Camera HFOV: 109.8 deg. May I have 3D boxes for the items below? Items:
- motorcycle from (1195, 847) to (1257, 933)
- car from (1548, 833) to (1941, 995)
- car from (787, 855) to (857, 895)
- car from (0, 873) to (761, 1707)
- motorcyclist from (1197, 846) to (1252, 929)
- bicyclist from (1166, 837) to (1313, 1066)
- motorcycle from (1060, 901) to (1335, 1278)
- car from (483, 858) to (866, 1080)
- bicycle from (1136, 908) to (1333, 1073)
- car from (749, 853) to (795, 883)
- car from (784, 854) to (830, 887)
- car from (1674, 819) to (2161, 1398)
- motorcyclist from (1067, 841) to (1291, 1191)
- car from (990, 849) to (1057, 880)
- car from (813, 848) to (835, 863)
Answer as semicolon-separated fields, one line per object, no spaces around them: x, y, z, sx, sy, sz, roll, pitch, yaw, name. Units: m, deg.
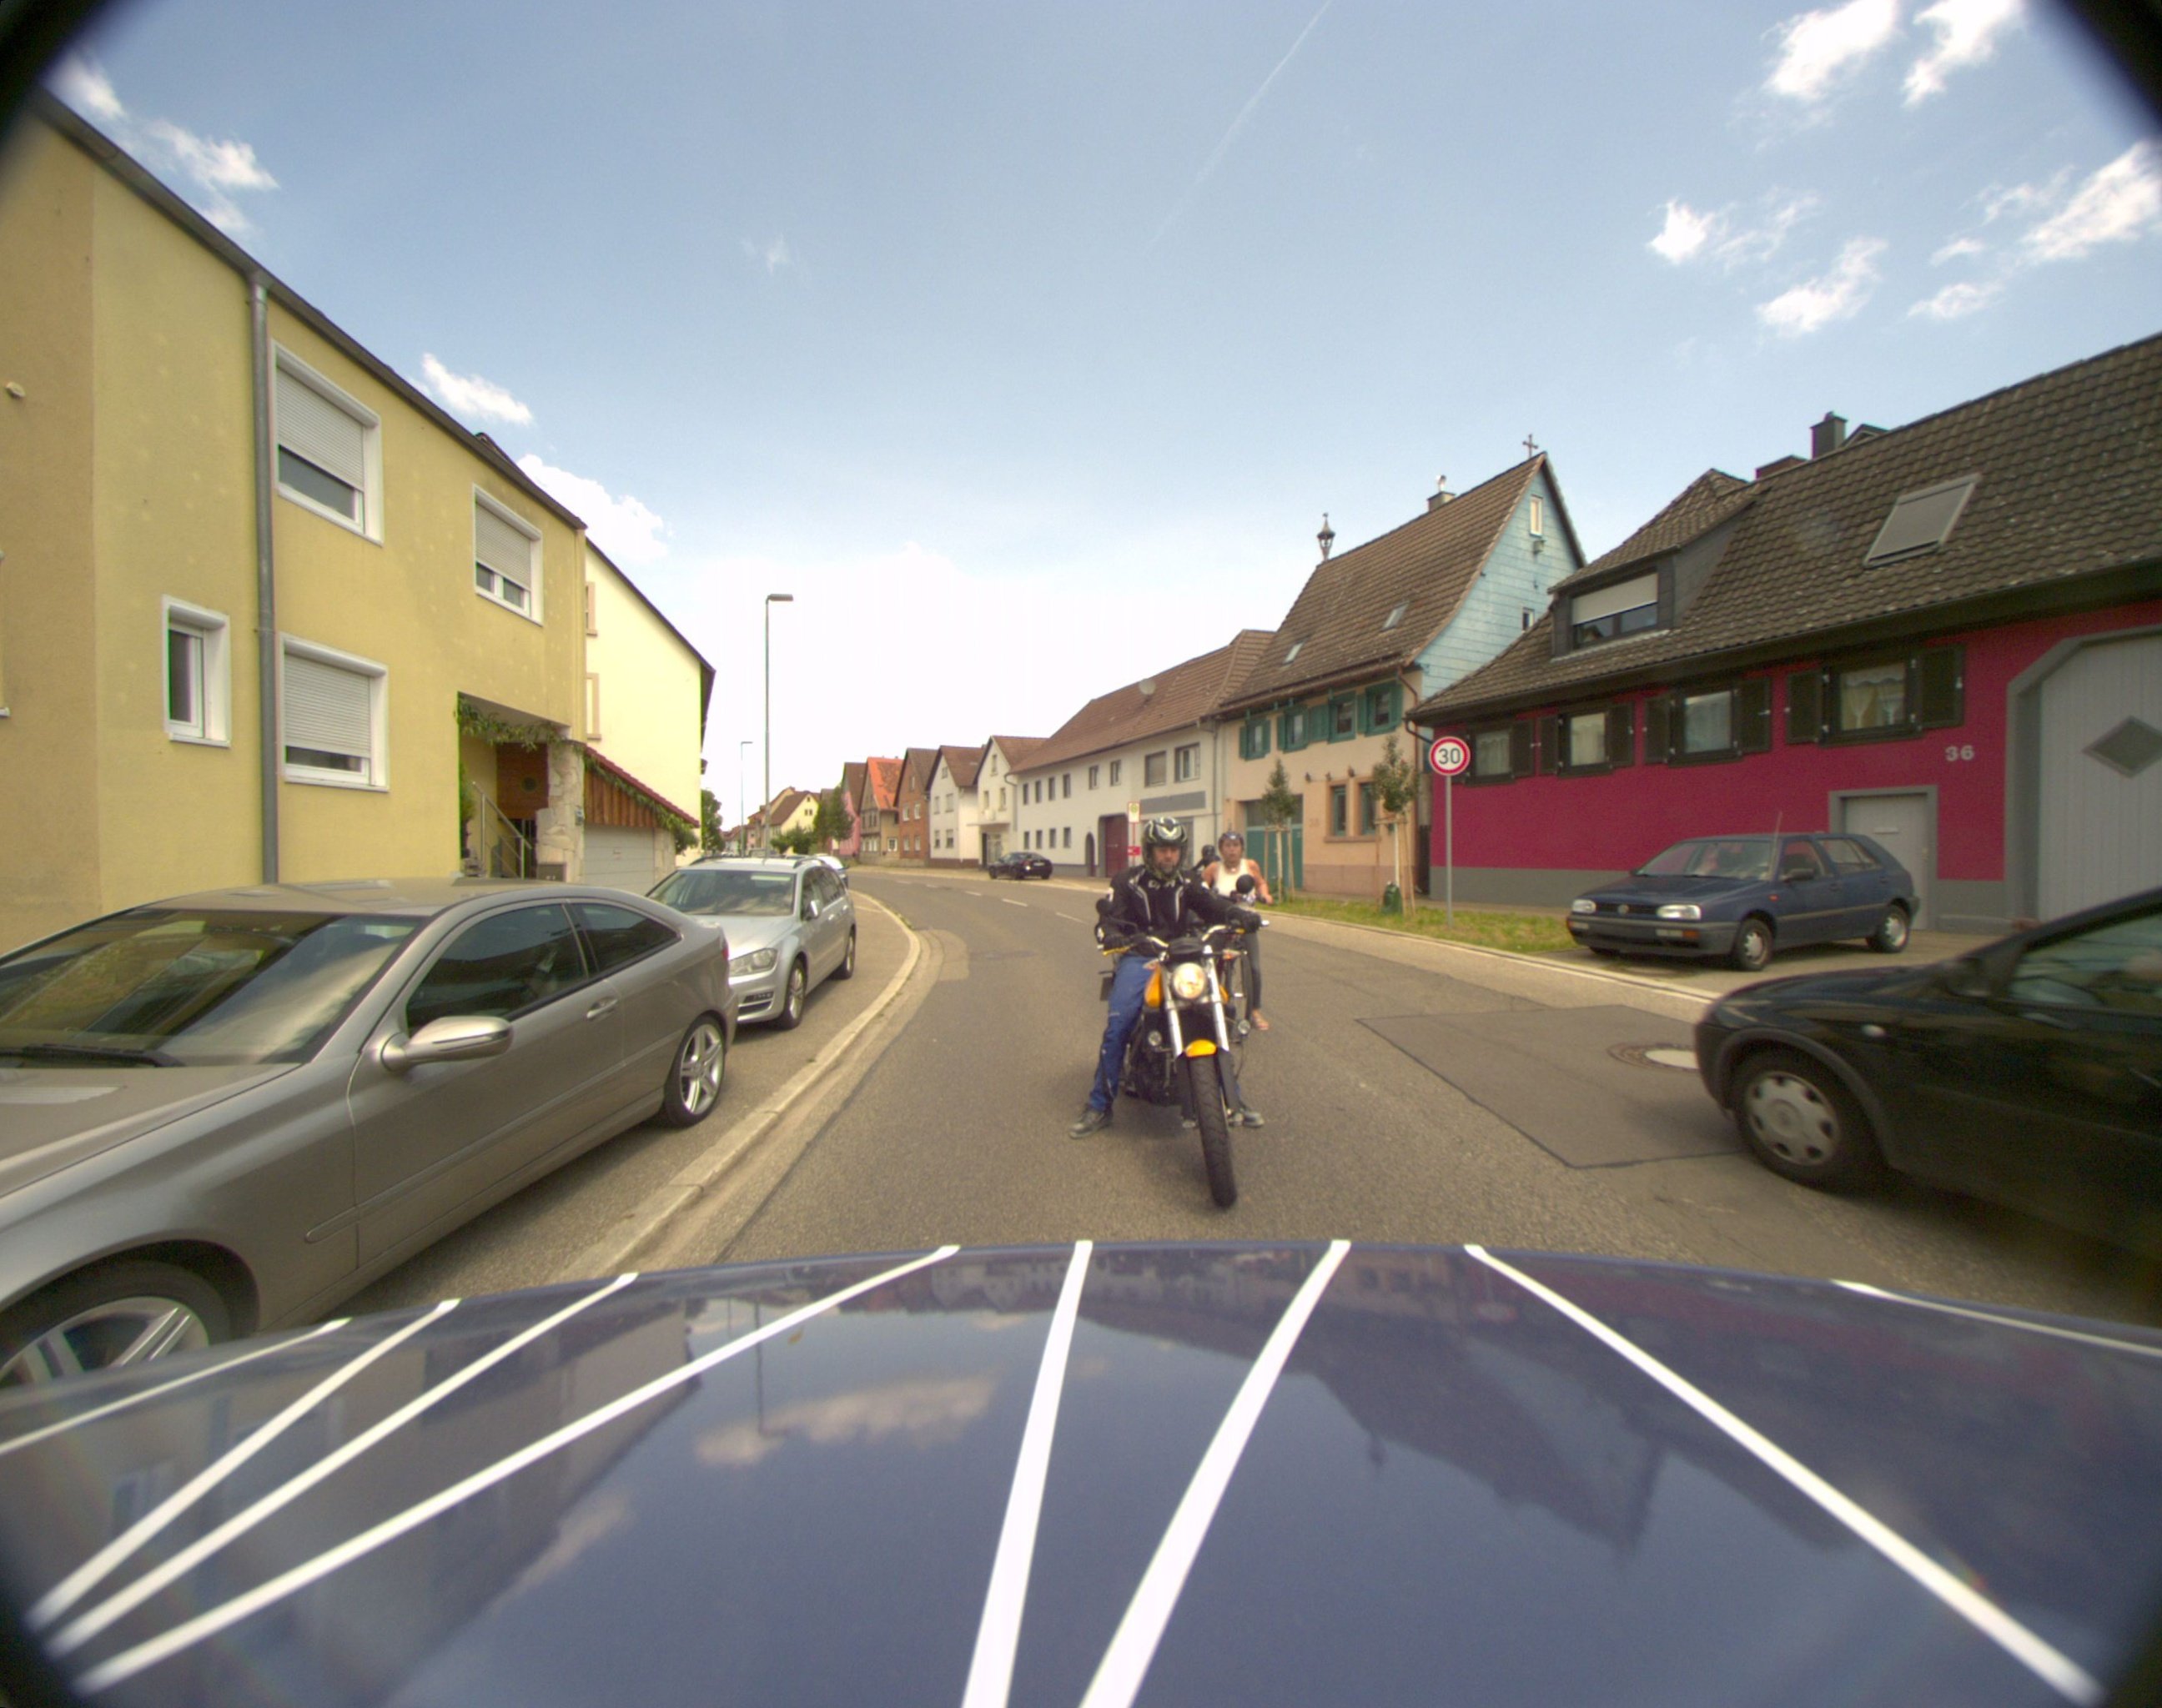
2.788;0.653;14.816;0.882;1.552;1.968;-1;0;3;motorcycle
7.651;0.556;8.797;3.983;1.456;1.718;-2;1;-20;car
-10.422;0.798;30.409;1.731;1.378;3.989;-1;2;-32;car
-2.941;0.913;2.706;1.775;1.392;4.422;2;2;-1;car
2.782;0.634;14.791;0.898;1.545;0.807;-1;0;2;motorcyclist
1.246;0.719;6.080;0.910;1.679;0.760;-2;3;-10;bicyclist
0.457;0.961;3.920;0.985;1.234;2.103;-3;1;1;motorcycle
-3.541;0.861;7.674;1.890;1.521;4.332;2;1;-6;car
1.180;1.036;6.392;0.934;1.005;1.922;-2;0;-11;bicycle
-18.948;0.826;46.441;1.669;1.638;3.989;-3;2;-35;car
-13.684;0.812;37.819;1.776;1.521;3.993;-1;-1;-25;car
3.649;0.691;1.735;1.504;1.531;3.854;-1;2;-1;car
0.459;0.749;3.894;1.000;1.591;0.799;-1;3;1;motorcyclist
-2.968;0.493;38.218;1.812;1.412;4.541;-3;1;-26;car
-27.526;0.130;81.313;1.687;1.521;3.490;-3;3;-26;car
